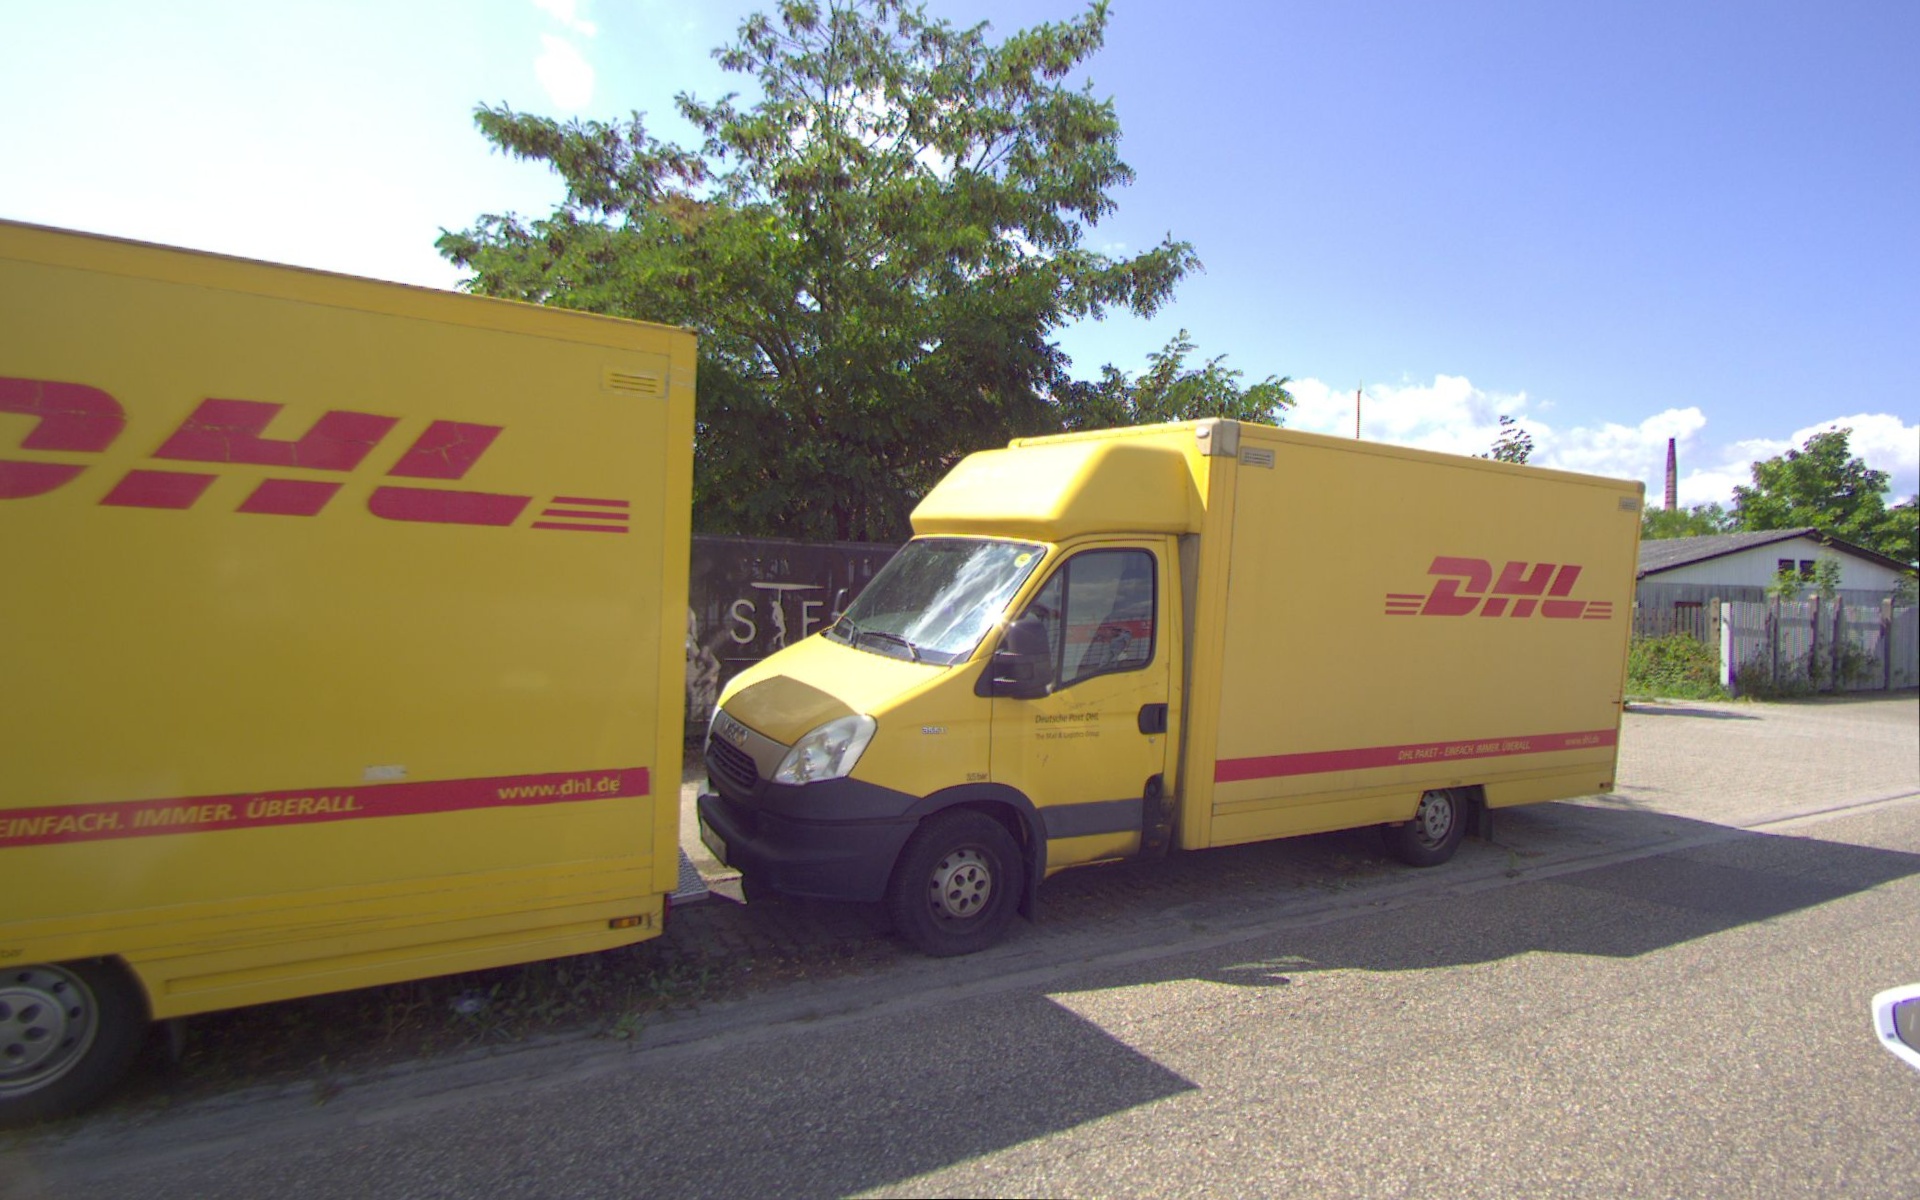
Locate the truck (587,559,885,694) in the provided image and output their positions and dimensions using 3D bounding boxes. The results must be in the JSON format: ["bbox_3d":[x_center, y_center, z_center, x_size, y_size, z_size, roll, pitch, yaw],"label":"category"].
[{"bbox_3d":[-4.520,0.565,20.580,5.626,2.521,2.110,1,-1,-16],"label":"truck"}]

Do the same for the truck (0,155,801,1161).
[{"bbox_3d":[-4.307,0.117,3.280,7.091,2.892,2.258,2,0,-31],"label":"truck"}]

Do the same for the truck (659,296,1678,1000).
[{"bbox_3d":[1.793,0.252,6.903,7.020,2.901,2.305,2,2,-30],"label":"truck"}]
